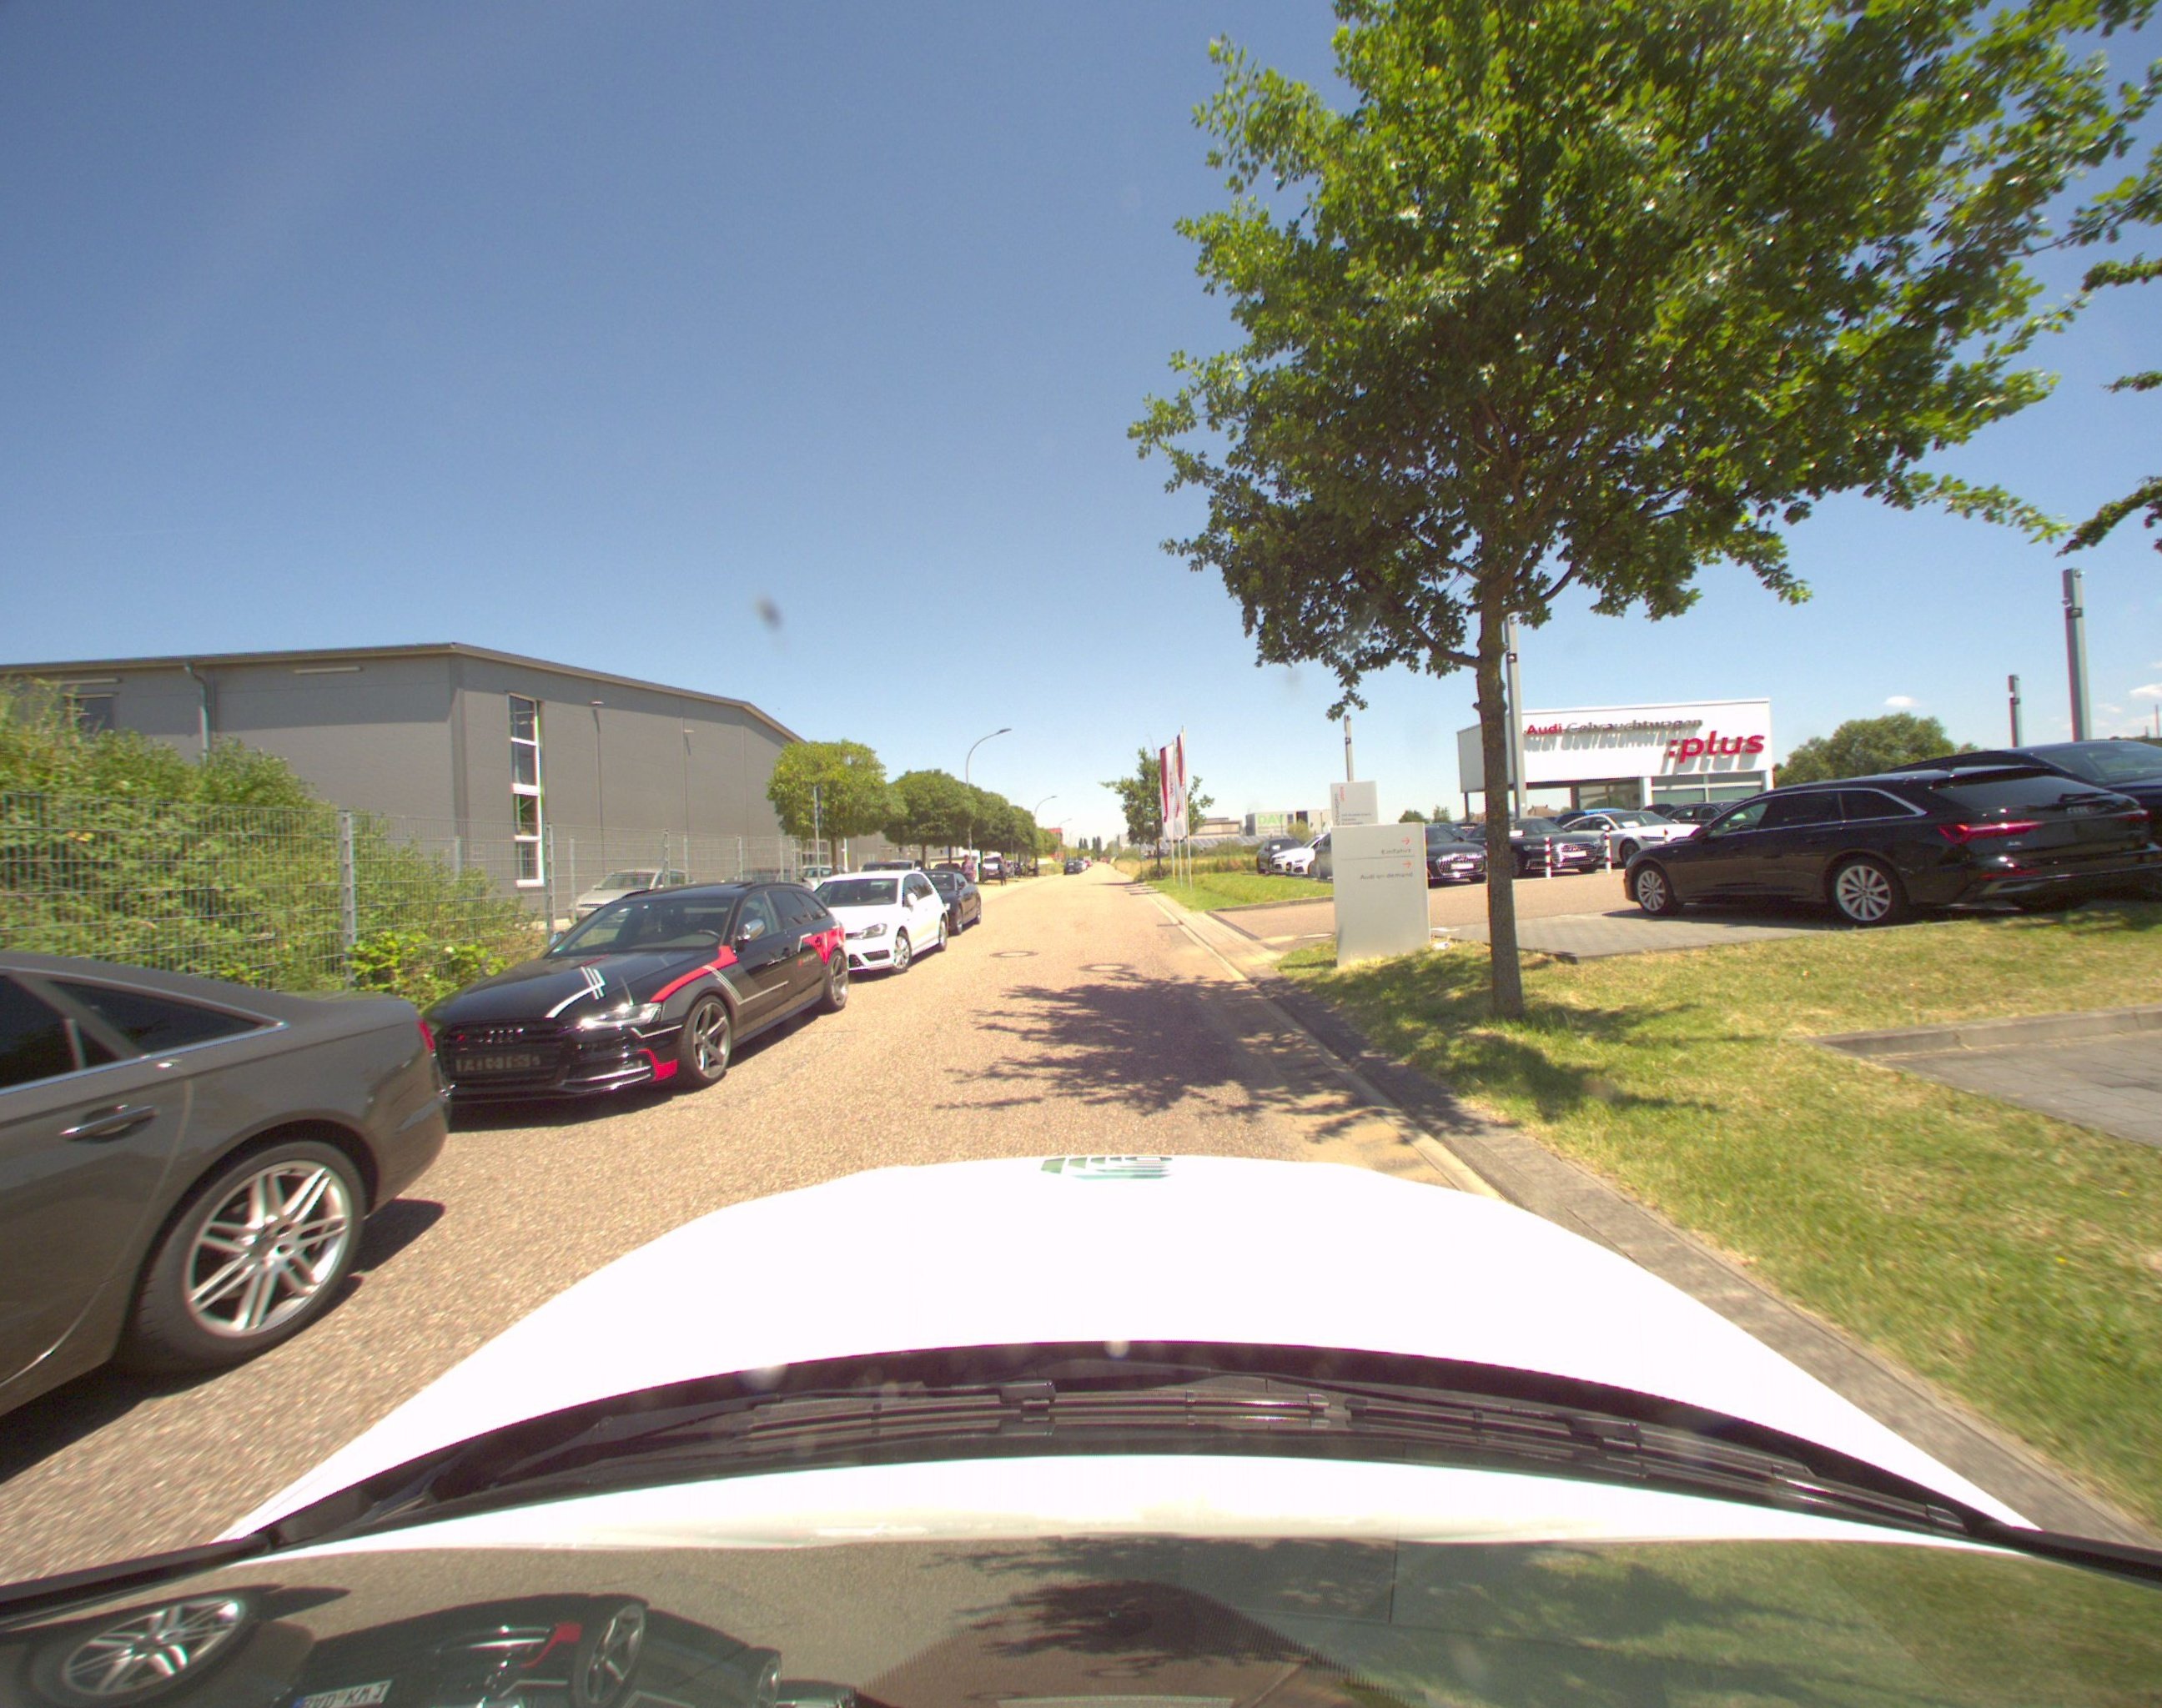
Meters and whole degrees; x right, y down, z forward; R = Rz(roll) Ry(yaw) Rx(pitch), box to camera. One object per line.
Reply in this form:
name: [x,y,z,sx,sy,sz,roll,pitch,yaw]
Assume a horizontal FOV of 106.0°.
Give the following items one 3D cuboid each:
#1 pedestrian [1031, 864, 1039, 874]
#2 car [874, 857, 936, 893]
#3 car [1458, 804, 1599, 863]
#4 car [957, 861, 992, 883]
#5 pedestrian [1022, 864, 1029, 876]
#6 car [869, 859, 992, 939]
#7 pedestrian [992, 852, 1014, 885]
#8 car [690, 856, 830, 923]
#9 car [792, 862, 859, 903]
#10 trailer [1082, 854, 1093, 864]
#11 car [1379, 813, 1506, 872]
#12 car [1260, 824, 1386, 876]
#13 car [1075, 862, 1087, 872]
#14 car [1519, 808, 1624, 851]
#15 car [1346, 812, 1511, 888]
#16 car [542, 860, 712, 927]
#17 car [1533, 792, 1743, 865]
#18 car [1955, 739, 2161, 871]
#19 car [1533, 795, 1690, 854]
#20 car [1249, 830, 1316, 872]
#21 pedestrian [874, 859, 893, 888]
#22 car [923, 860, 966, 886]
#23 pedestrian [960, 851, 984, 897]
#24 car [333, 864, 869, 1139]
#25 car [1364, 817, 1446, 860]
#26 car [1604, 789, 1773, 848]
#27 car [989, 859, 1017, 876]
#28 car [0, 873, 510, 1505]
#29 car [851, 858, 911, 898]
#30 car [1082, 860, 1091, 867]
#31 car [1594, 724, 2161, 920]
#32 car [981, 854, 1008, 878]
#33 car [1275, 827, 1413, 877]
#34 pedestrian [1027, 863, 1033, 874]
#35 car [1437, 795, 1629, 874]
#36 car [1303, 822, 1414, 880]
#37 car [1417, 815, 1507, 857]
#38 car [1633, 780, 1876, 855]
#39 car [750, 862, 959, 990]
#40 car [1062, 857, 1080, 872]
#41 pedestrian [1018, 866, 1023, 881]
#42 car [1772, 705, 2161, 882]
pedestrian: [-4.865,1.620,86.870,0.747,1.099,0.647,0,-1,5]
car: [-8.226,0.944,38.479,1.759,1.573,4.541,-1,0,2]
car: [14.434,-0.605,26.660,2.017,1.589,4.781,-5,0,2]
car: [-7.715,1.265,59.574,1.759,1.453,4.715,-3,0,1]
pedestrian: [-5.213,1.503,76.493,0.475,1.150,0.556,0,-3,11]
car: [-3.293,0.931,18.753,1.818,1.500,4.527,-3,0,1]
pedestrian: [-4.655,0.867,48.480,0.832,1.972,0.971,-2,-1,41]
car: [-8.637,0.893,22.399,1.817,1.500,4.331,-5,0,3]
car: [-10.339,1.116,33.215,1.678,1.500,3.701,-1,0,-2]
trailer: [1.514,1.144,188.609,2.193,2.137,4.286,-4,-1,1]
car: [11.550,-0.334,26.443,2.017,1.589,4.781,-5,0,2]
car: [9.947,-0.155,33.675,4.515,1.692,2.030,-5,-1,-1]
car: [0.046,2.108,137.251,1.780,1.520,3.983,-4,0,1]
car: [22.483,-1.068,37.607,2.016,1.654,4.812,-5,0,3]
car: [8.700,-0.084,20.992,2.017,1.514,5.241,-6,0,2]
car: [-11.572,0.939,21.139,1.816,1.500,4.262,-1,0,3]
car: [14.215,-0.577,21.282,2.017,1.456,5.079,-6,0,2]
car: [13.230,-0.663,8.903,1.954,1.457,4.986,-5,-2,1]
car: [17.119,-0.868,26.623,2.017,1.589,4.781,-5,0,2]
car: [9.375,-0.110,38.401,2.016,1.692,5.112,-5,0,3]
pedestrian: [-11.858,1.154,48.969,0.837,1.713,0.965,-1,-1,1]
car: [-8.232,1.140,49.259,1.758,1.453,3.842,-1,0,2]
pedestrian: [-4.407,0.804,32.994,0.741,1.801,1.136,-1,0,3]
car: [-3.470,0.914,7.136,1.817,1.500,4.521,-4,0,2]
car: [14.919,-0.661,37.812,2.016,1.725,4.812,-5,0,3]
car: [19.891,-1.090,26.996,2.017,1.589,4.781,-5,0,2]
car: [-7.242,1.329,76.207,1.919,1.440,4.843,-3,-2,2]
car: [-3.588,0.881,1.414,1.817,1.500,4.521,-4,0,2]
car: [-8.193,0.954,33.682,1.679,1.500,3.700,-3,0,-3]
car: [1.291,2.110,177.599,1.780,1.520,3.983,-4,-1,1]
car: [8.252,-0.185,9.036,1.954,1.457,4.986,-5,-2,1]
car: [-7.393,0.994,70.004,1.831,2.019,5.124,-1,0,-1]
car: [9.936,-0.071,31.019,4.515,1.457,2.030,-5,0,-1]
pedestrian: [-5.524,1.607,87.993,0.503,1.191,0.753,0,-1,4]
car: [11.299,-0.428,20.927,1.889,1.573,5.478,-6,0,2]
car: [8.883,-0.075,26.580,2.017,1.573,4.781,-5,0,2]
car: [17.567,-0.782,37.814,2.016,1.679,4.812,-5,0,3]
car: [16.903,-0.813,20.894,2.017,1.456,5.079,-6,0,2]
car: [-3.221,0.942,12.536,1.817,1.500,4.260,-4,0,2]
car: [-1.099,1.242,94.488,1.920,1.567,4.189,-4,0,0]
pedestrian: [-6.412,2.052,86.388,0.503,1.595,0.753,0,-1,4]
car: [10.819,-0.562,9.081,1.954,1.598,4.986,-5,-2,1]
